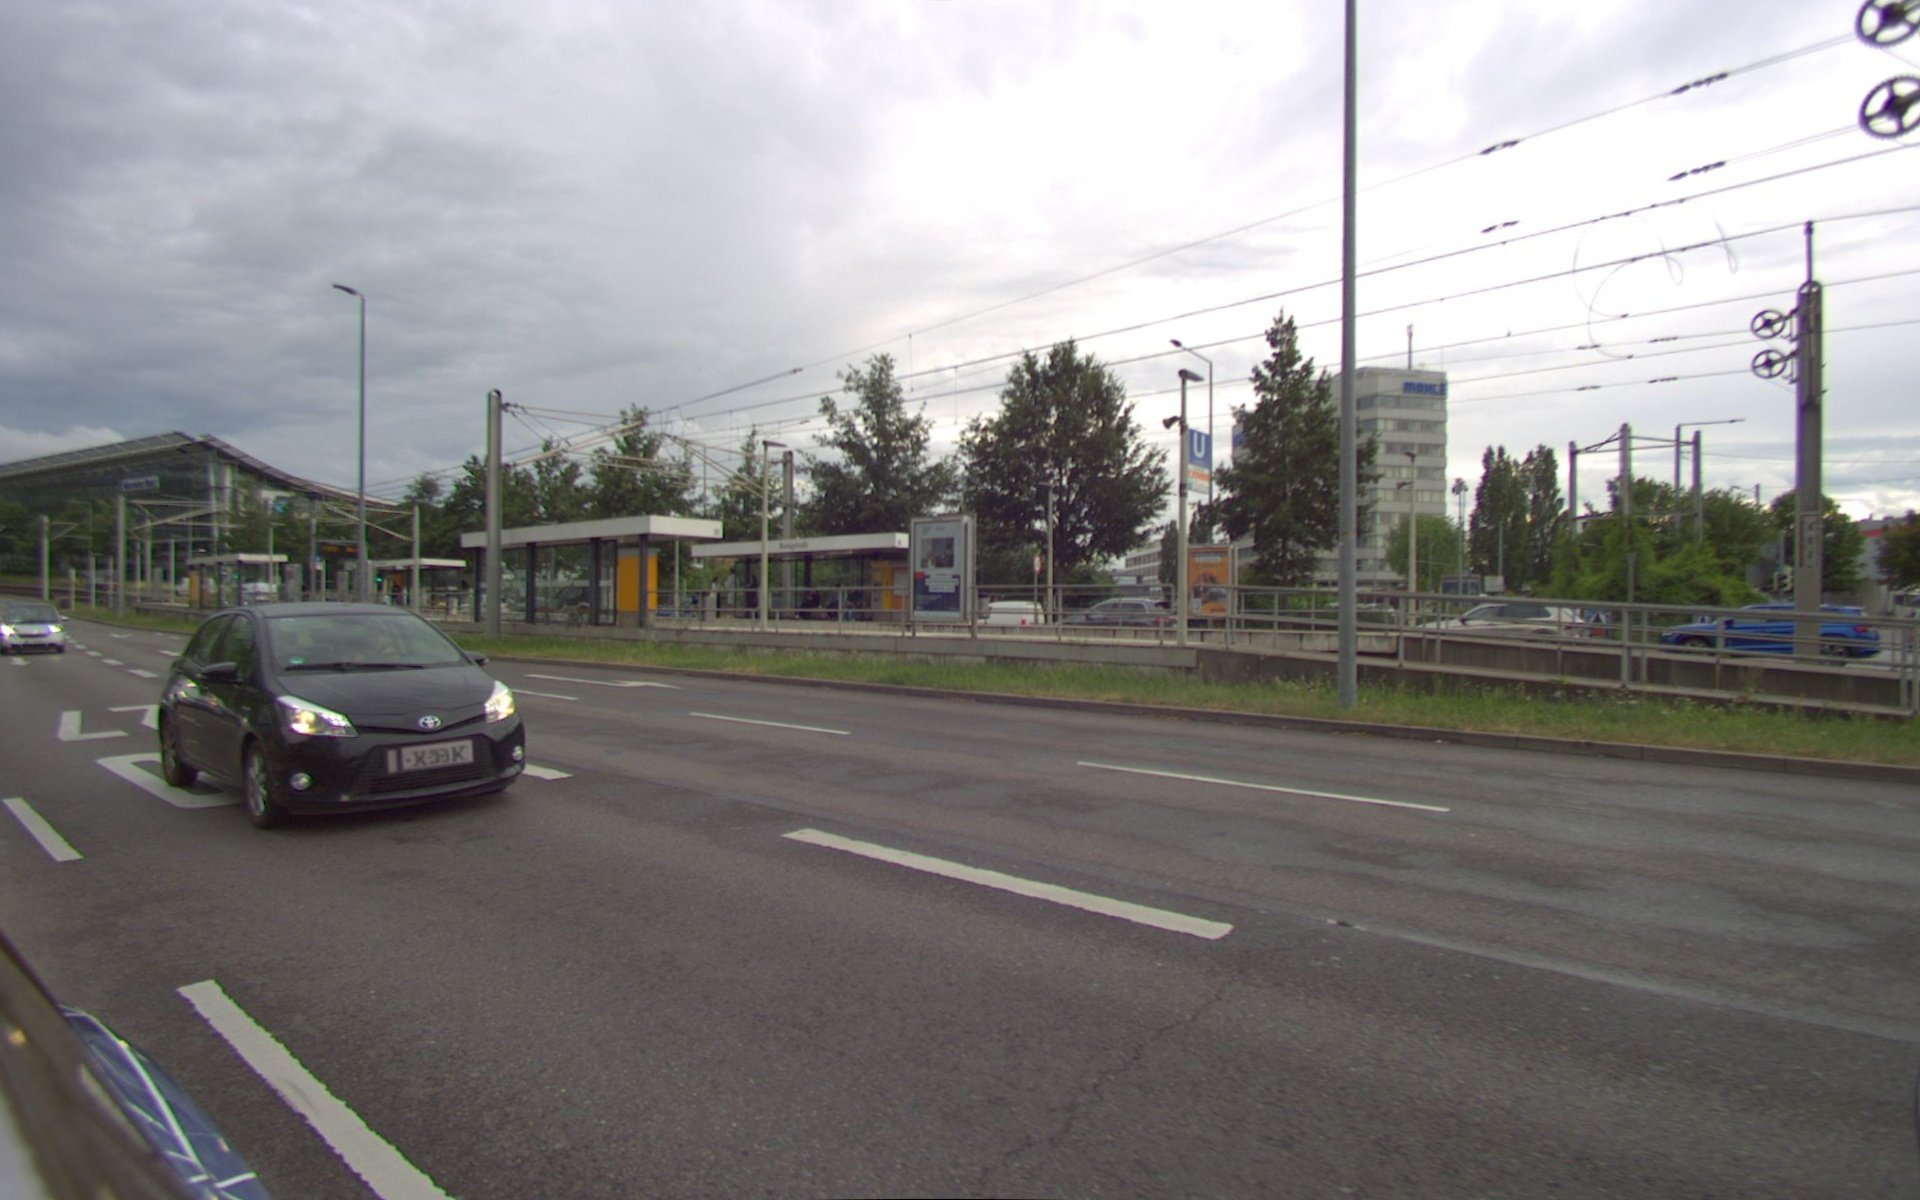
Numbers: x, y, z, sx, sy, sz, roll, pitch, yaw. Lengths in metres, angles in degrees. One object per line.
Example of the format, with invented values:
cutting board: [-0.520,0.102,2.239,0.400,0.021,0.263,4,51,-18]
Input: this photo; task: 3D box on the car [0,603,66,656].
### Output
car: [-29.020,0.863,31.390,1.716,1.489,4.003,-2,2,-45]

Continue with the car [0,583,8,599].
car: [-93.908,-0.892,98.509,1.677,1.534,3.830,0,1,-42]

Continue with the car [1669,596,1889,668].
car: [21.131,0.761,26.382,4.312,1.640,1.976,1,2,37]

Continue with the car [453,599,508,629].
car: [-29.885,0.839,63.007,4.267,1.679,1.512,1,2,41]

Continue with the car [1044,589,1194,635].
car: [5.006,0.335,32.196,4.410,1.273,1.889,1,2,39]

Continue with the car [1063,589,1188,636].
car: [5.802,0.401,35.701,3.996,1.514,1.769,1,2,39]

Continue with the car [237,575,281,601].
car: [-62.247,-1.126,89.852,5.142,2.231,1.973,1,2,42]

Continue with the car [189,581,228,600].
car: [-73.781,-0.956,99.317,5.026,1.744,1.974,1,2,40]

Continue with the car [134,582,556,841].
car: [-4.961,0.687,7.951,3.901,1.534,1.676,-1,0,40]

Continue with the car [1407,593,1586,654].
car: [14.771,0.598,27.959,4.148,1.473,1.722,1,2,39]

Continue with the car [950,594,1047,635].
car: [1.616,0.594,43.475,4.079,1.639,1.556,1,2,39]

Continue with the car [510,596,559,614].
car: [-30.171,0.322,71.693,3.931,1.139,1.511,1,2,39]
